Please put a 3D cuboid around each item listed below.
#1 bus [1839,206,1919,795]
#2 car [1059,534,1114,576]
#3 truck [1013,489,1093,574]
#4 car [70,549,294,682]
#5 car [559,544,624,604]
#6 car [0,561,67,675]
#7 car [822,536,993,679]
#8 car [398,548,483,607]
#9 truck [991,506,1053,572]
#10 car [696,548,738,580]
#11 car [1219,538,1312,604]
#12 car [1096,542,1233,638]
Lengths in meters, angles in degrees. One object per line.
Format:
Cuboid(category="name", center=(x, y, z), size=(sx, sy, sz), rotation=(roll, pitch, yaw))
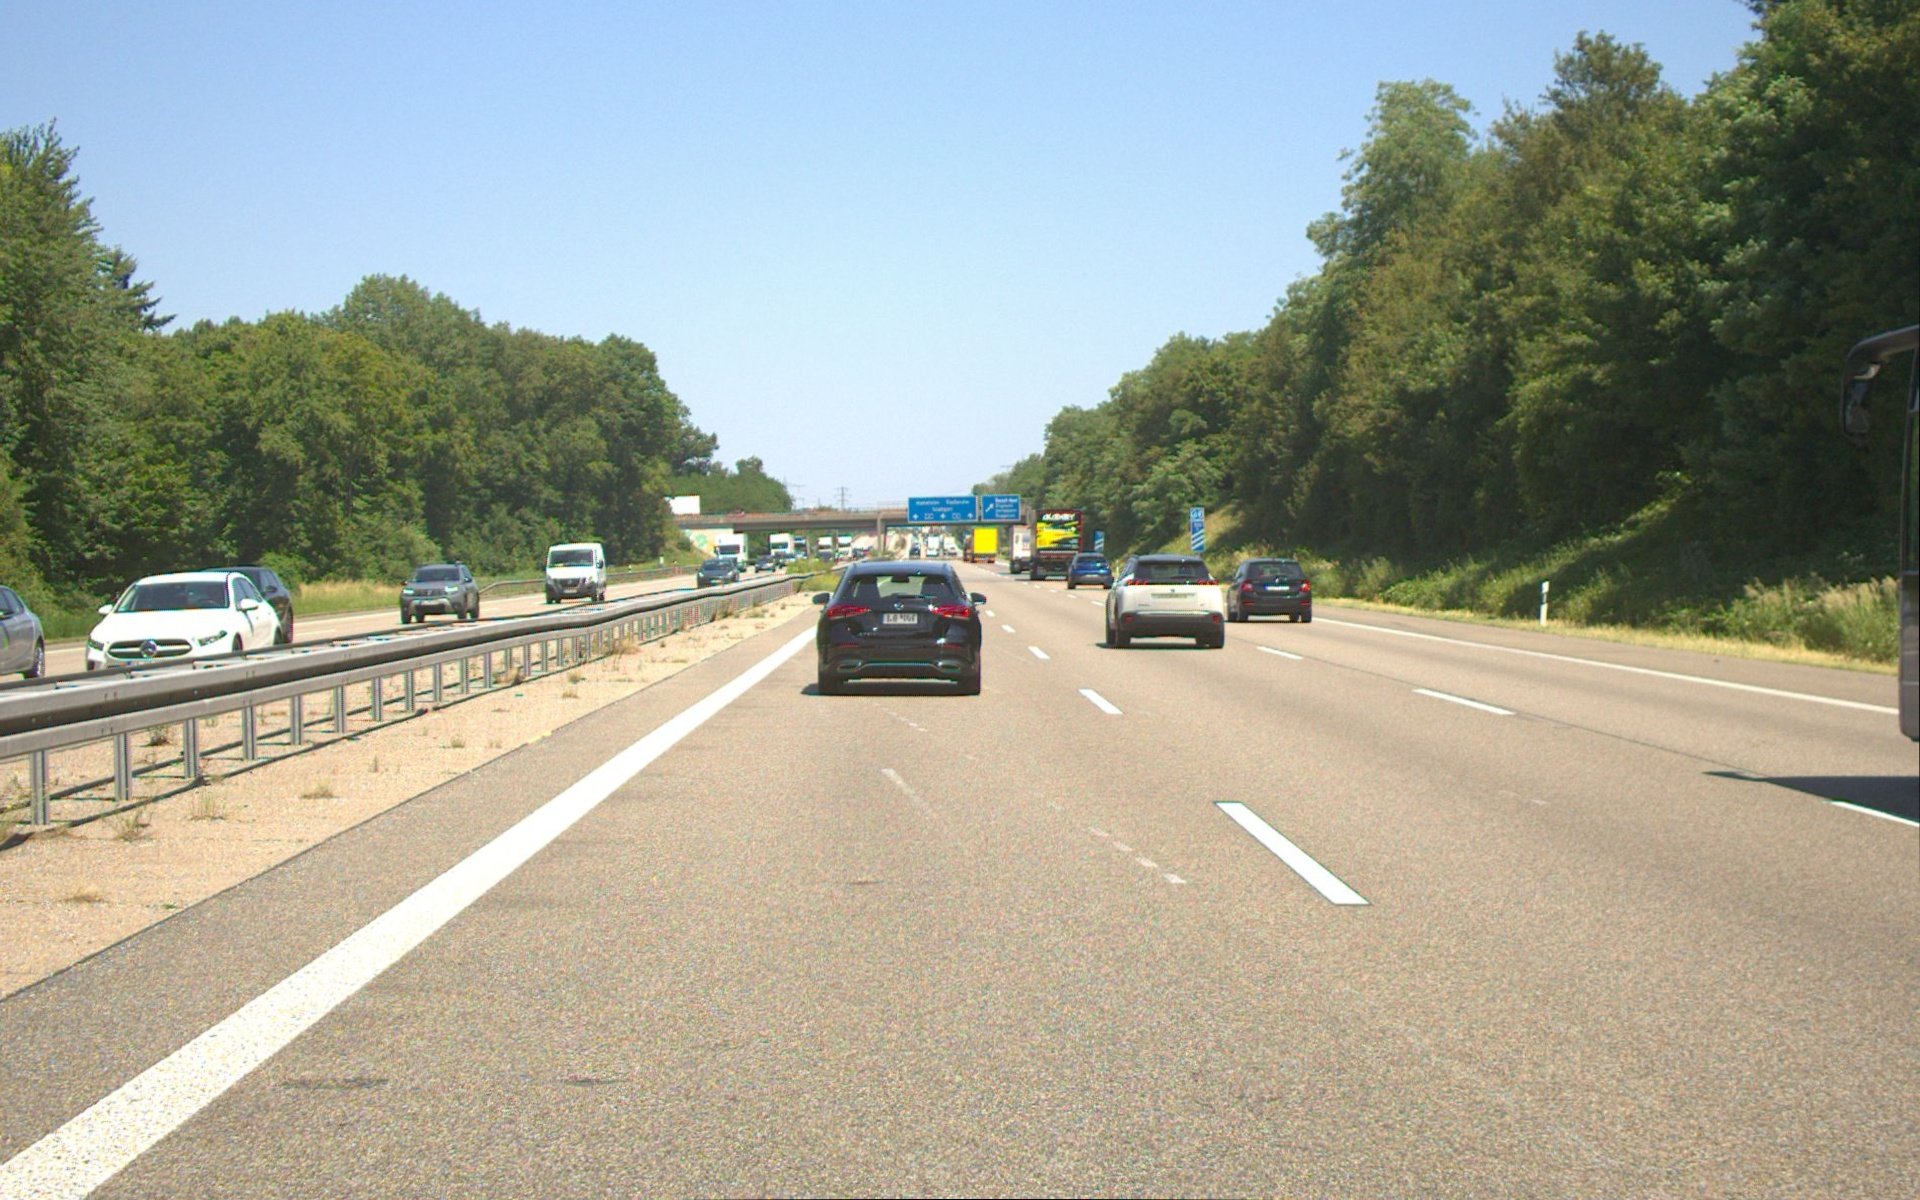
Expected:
Cuboid(category="bus", center=(7.366, -0.532, 16.436), size=(2.802, 3.584, 12.475), rotation=(0, 1, -2))
Cuboid(category="car", center=(5.455, -1.954, 149.089), size=(2.076, 1.745, 4.242), rotation=(-1, 1, -2))
Cuboid(category="truck", center=(5.222, -3.860, 196.643), size=(3.647, 4.574, 15.768), rotation=(1, 1, -2))
Cuboid(category="car", center=(-9.702, 0.147, 43.240), size=(1.820, 1.518, 4.824), rotation=(-1, 1, -2))
Cuboid(category="car", center=(-14.488, -1.047, 135.284), size=(2.087, 2.280, 5.277), rotation=(-1, 1, -2))
Cuboid(category="car", center=(-13.875, 0.245, 47.689), size=(1.820, 1.518, 4.824), rotation=(-1, 1, -2))
Cuboid(category="car", center=(-0.612, 0.038, 38.394), size=(1.799, 1.496, 4.242), rotation=(0, 1, -2))
Cuboid(category="car", center=(-14.943, -0.669, 99.121), size=(1.820, 1.625, 4.798), rotation=(-1, 1, -2))
Cuboid(category="truck", center=(4.439, -4.413, 249.621), size=(3.647, 4.574, 17.249), rotation=(1, 1, -2))
Cuboid(category="car", center=(-11.685, -1.752, 165.268), size=(1.805, 1.475, 4.568), rotation=(-1, 1, -2))
Cuboid(category="car", center=(6.946, -0.671, 78.534), size=(1.789, 1.456, 3.949), rotation=(0, 1, 0))
Cuboid(category="car", center=(3.368, -0.197, 57.277), size=(1.899, 1.527, 4.242), rotation=(0, 1, -2))
